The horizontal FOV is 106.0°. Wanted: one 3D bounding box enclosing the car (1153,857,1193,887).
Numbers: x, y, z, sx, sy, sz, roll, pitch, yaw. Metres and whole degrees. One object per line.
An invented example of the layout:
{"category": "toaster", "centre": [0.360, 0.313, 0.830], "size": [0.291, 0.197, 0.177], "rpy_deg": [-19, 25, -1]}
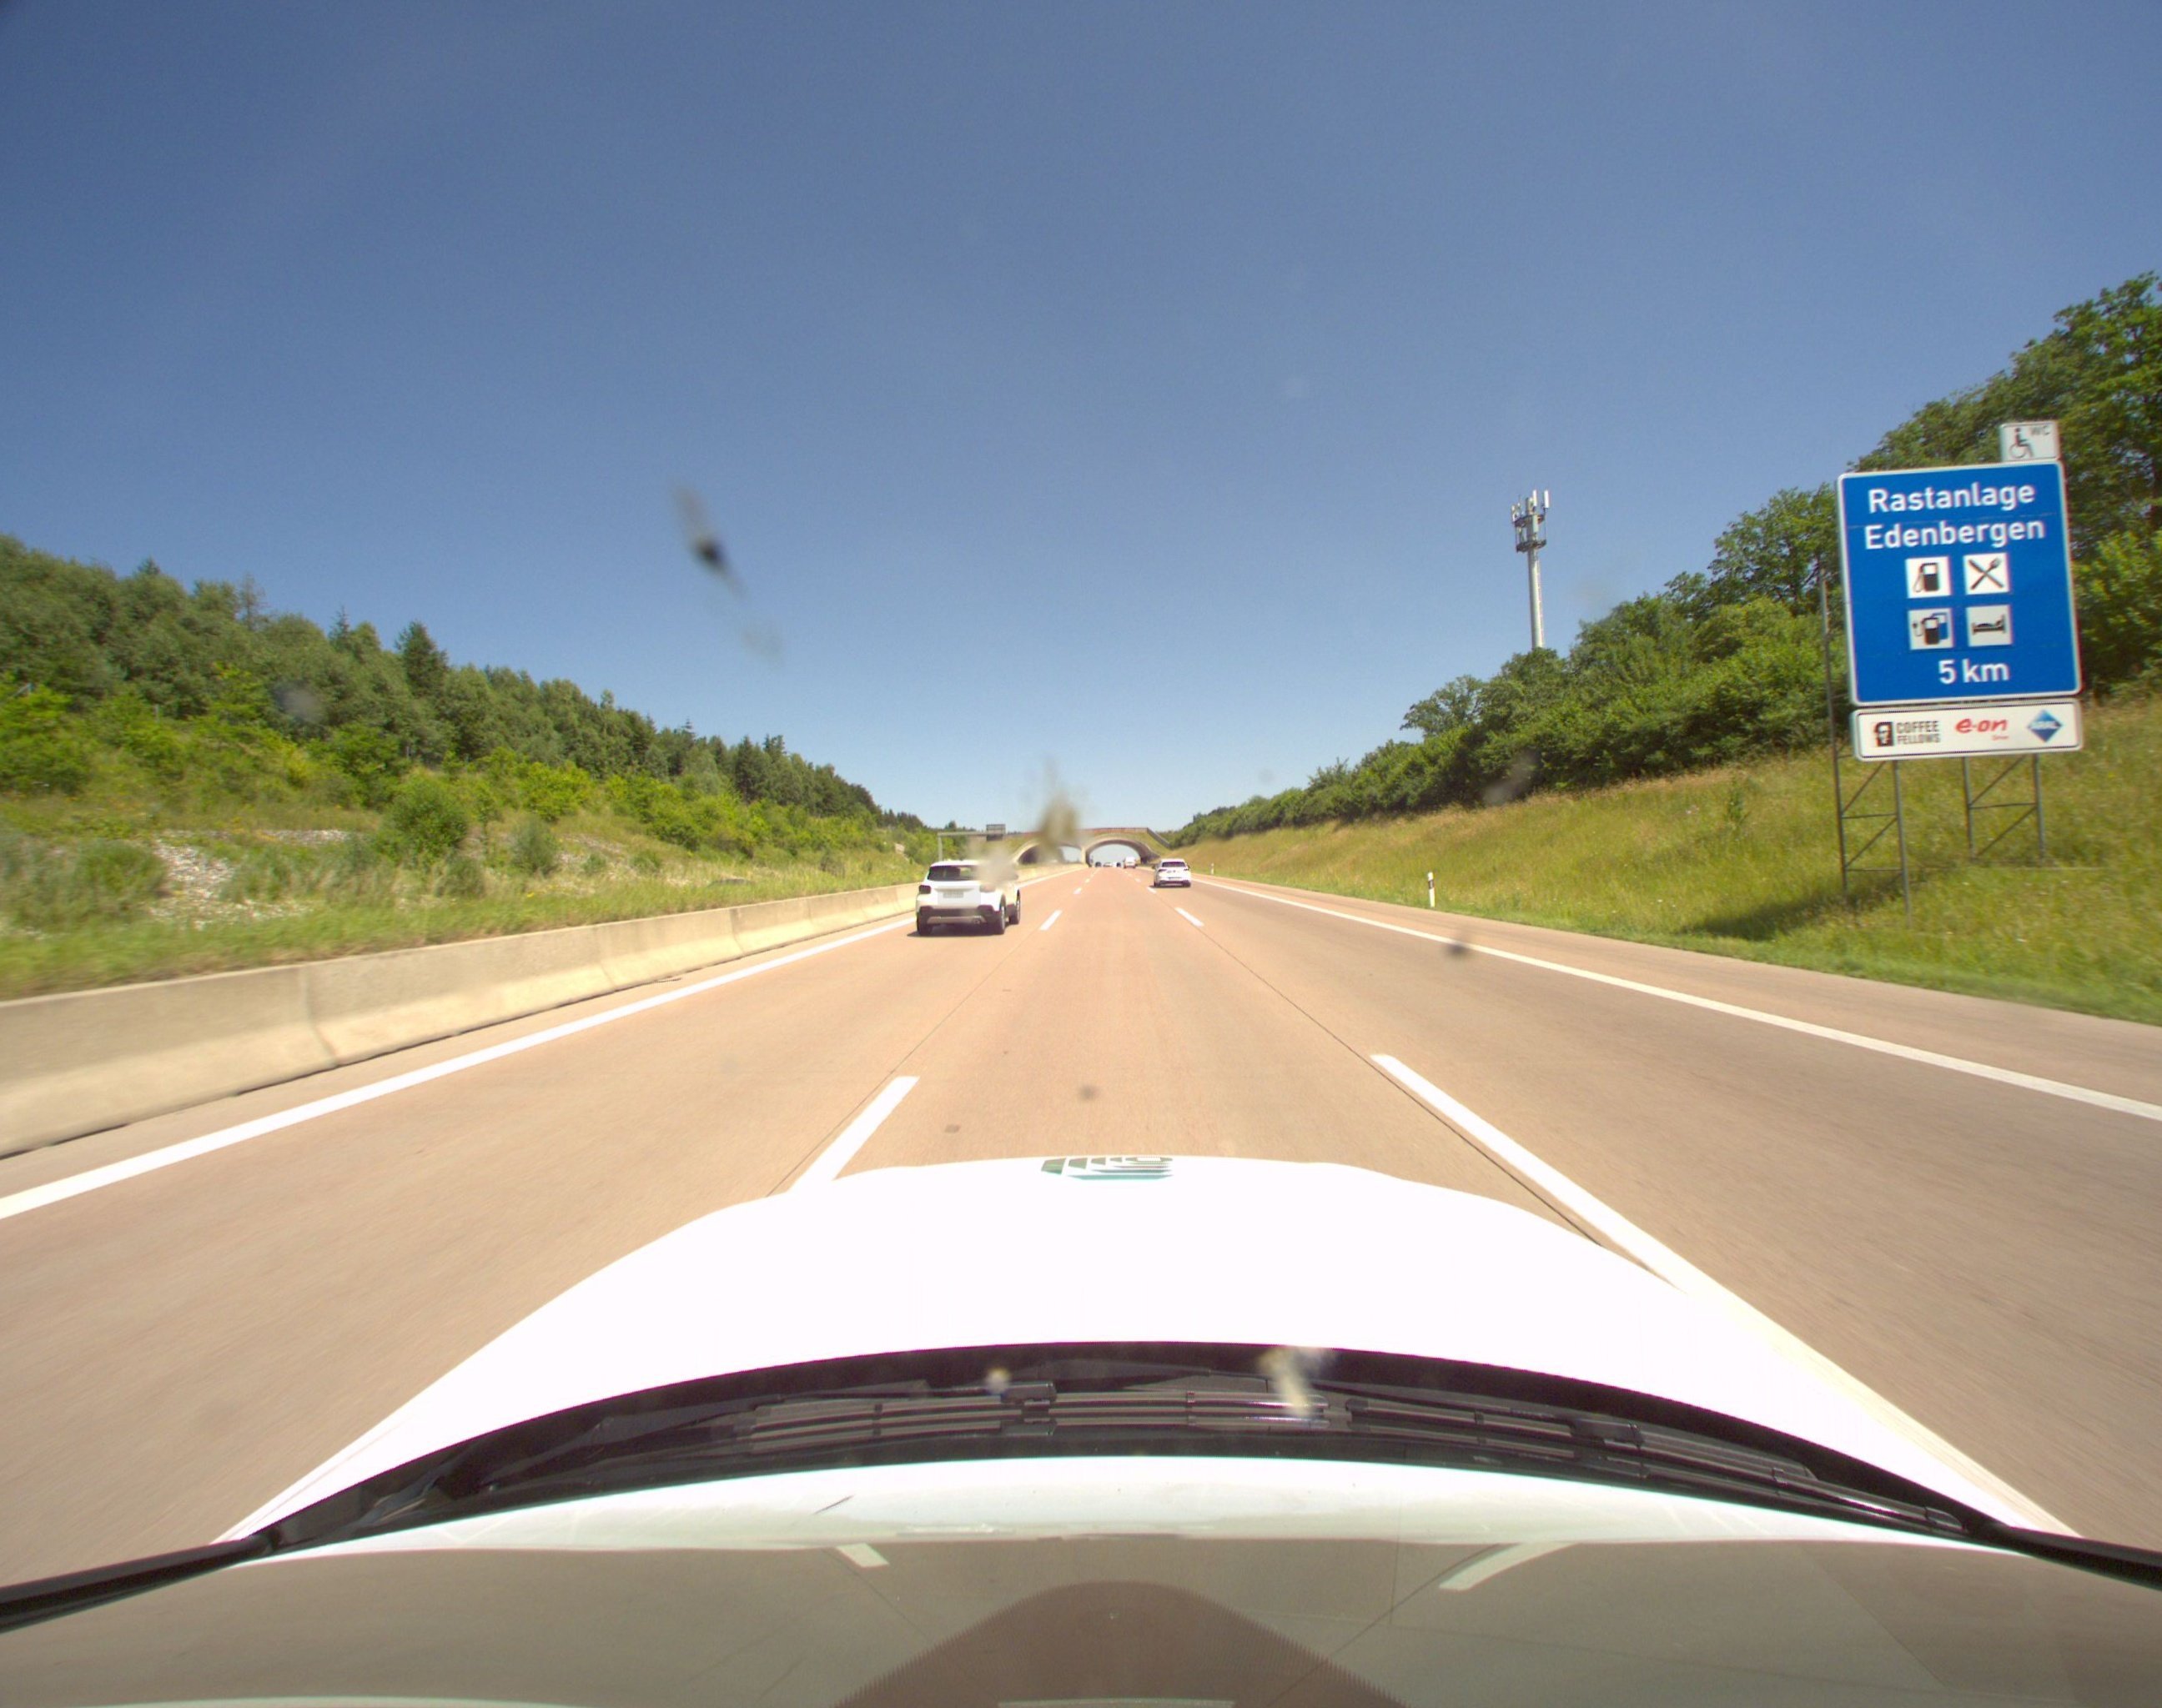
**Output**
{"category": "car", "centre": [4.720, 0.901, 42.306], "size": [1.882, 1.398, 4.004], "rpy_deg": [0, 0, 4]}

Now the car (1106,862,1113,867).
{"category": "car", "centre": [8.065, 2.922, 230.439], "size": [1.883, 1.463, 4.002], "rpy_deg": [0, 0, 2]}

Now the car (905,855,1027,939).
{"category": "car", "centre": [-2.397, 0.831, 18.266], "size": [1.872, 1.607, 4.836], "rpy_deg": [-1, 0, 2]}

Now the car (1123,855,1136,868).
{"category": "car", "centre": [8.101, 1.290, 134.862], "size": [2.101, 2.054, 4.004], "rpy_deg": [-1, 1, 4]}
